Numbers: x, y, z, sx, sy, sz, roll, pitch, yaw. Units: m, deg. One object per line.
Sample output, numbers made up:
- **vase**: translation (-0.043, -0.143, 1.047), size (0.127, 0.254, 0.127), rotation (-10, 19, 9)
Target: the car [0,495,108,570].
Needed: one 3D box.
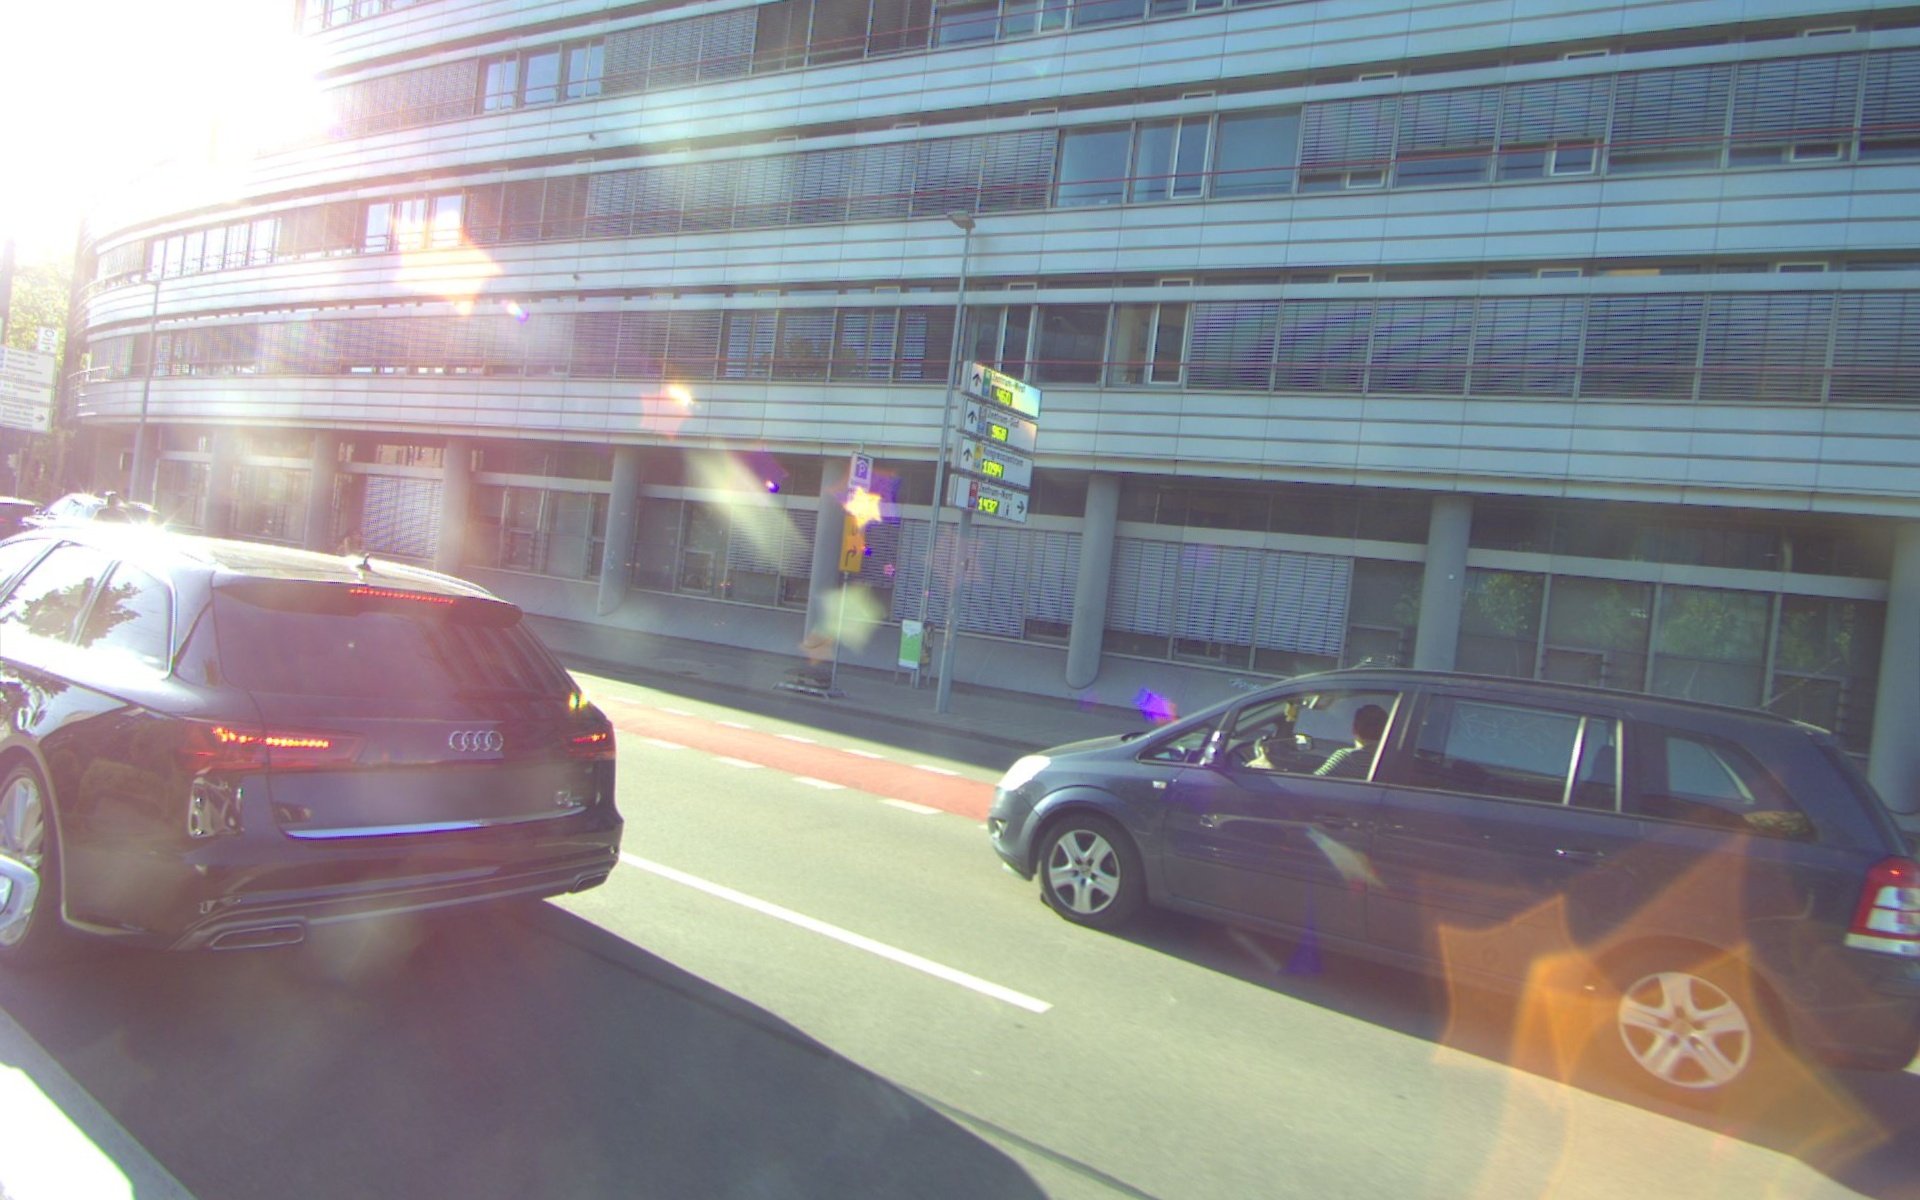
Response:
- **car**: translation (-25.393, -1.918, 27.647), size (3.937, 1.671, 1.994), rotation (7, 0, 35)

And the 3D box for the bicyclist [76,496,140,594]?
- **bicyclist**: translation (-16.781, -1.084, 19.813), size (0.849, 1.813, 0.578), rotation (7, 1, 31)

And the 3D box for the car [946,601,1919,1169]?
- **car**: translation (2.297, 1.106, 5.413), size (4.389, 1.649, 1.690), rotation (7, 0, 32)

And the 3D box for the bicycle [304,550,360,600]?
- **bicycle**: translation (-15.345, -0.619, 24.568), size (1.675, 1.072, 0.504), rotation (6, 2, 35)

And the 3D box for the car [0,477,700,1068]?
- **car**: translation (-3.510, 0.357, 4.593), size (4.421, 1.509, 1.815), rotation (7, -2, 32)

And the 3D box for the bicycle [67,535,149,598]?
- **bicycle**: translation (-16.789, -0.681, 19.797), size (2.289, 1.010, 0.492), rotation (7, 0, 32)

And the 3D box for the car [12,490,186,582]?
- **car**: translation (-21.440, -1.600, 25.031), size (4.257, 1.771, 1.996), rotation (7, 0, 32)

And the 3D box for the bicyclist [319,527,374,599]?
- **bicyclist**: translation (-15.183, -0.908, 24.897), size (0.975, 1.638, 0.684), rotation (7, 1, 33)
